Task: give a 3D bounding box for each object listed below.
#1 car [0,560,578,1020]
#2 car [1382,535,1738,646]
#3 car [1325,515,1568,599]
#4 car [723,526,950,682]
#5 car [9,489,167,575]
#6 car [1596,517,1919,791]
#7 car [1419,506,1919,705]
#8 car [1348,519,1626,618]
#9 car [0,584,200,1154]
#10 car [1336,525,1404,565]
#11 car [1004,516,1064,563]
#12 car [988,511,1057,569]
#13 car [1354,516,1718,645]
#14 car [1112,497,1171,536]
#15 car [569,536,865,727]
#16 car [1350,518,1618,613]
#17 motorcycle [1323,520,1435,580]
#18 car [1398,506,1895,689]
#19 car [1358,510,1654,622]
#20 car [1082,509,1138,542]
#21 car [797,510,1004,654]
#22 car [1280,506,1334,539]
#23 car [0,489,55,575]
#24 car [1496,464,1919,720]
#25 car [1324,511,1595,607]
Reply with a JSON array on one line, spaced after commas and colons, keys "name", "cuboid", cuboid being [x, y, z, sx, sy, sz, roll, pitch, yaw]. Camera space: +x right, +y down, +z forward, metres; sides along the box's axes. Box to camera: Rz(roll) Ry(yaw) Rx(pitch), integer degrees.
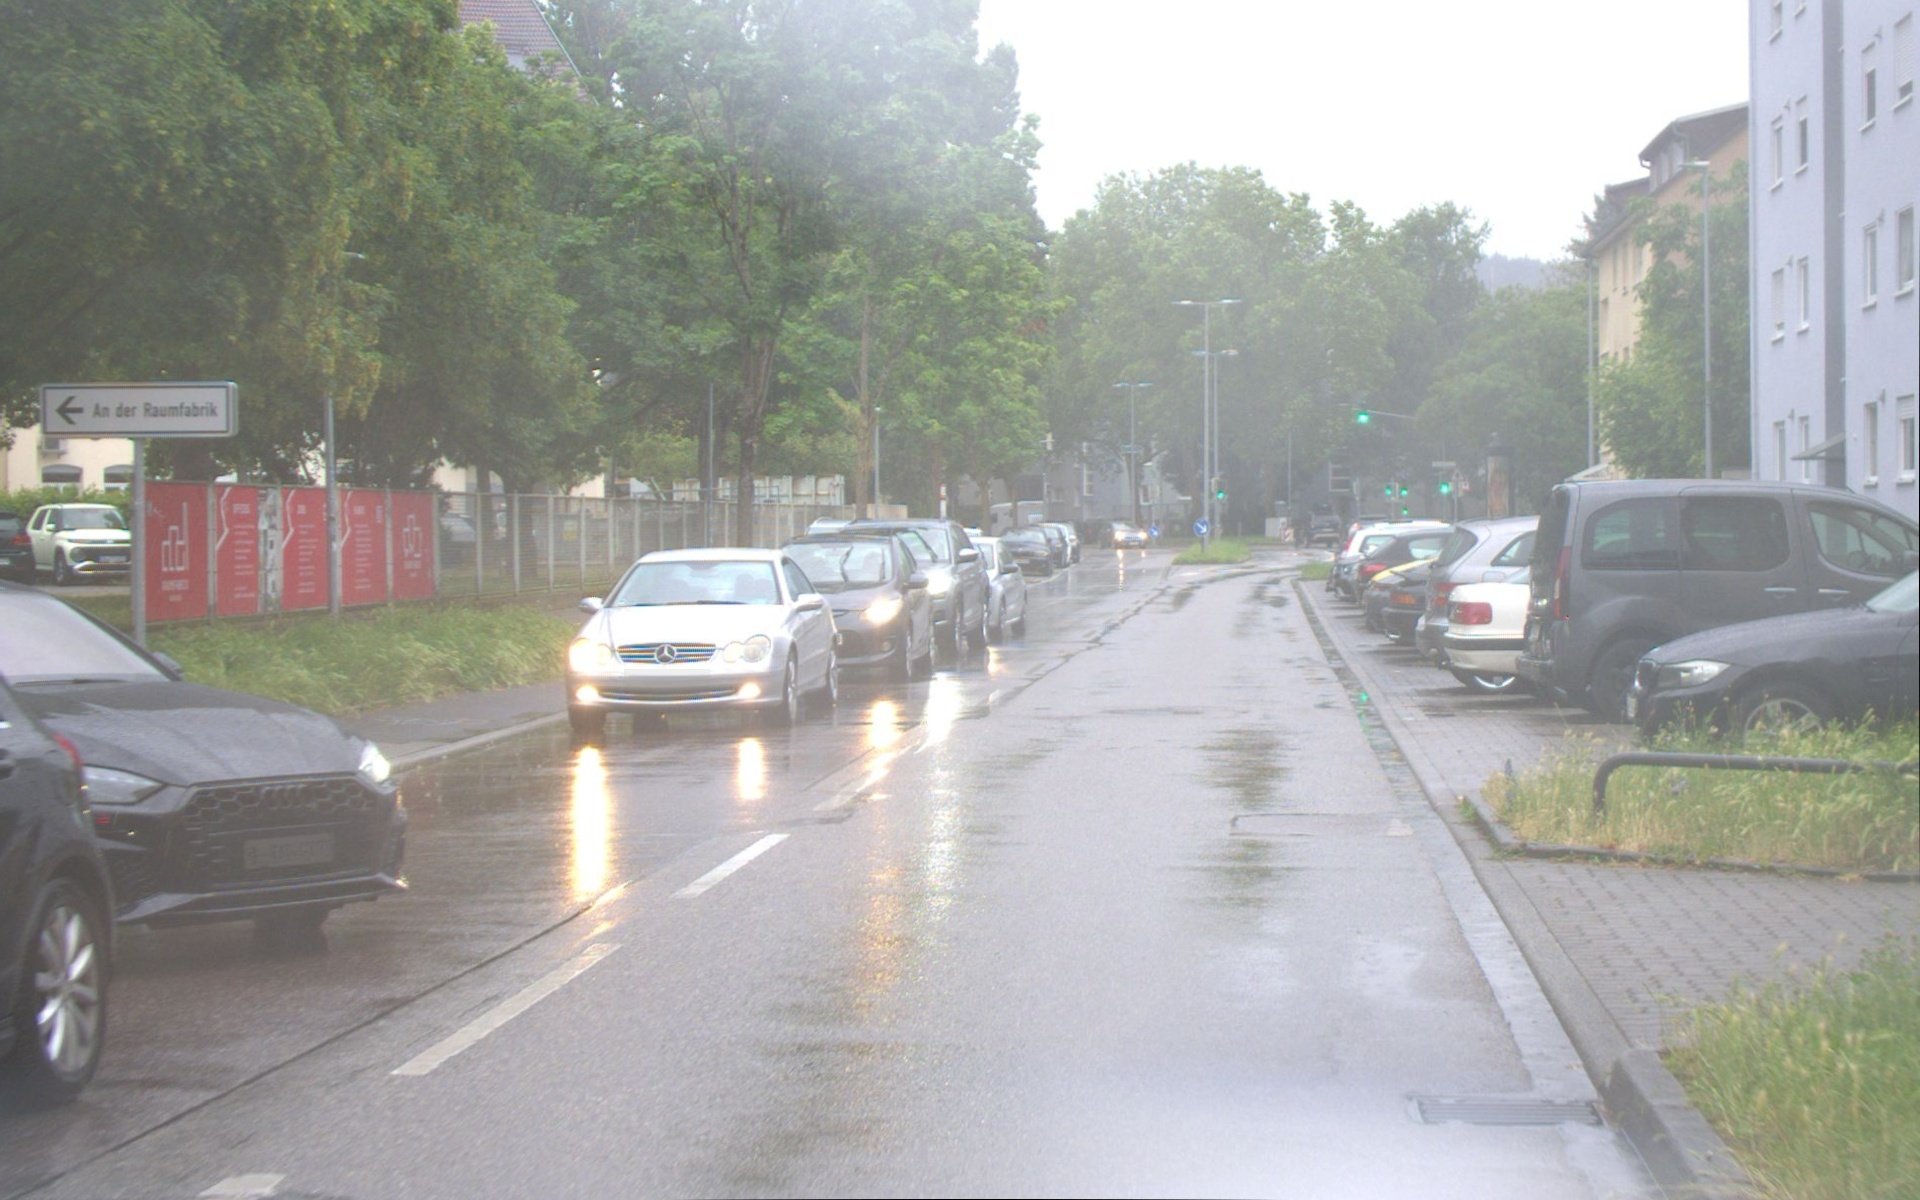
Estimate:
[{"name": "car", "cuboid": [-4.020, 0.592, 13.480, 4.923, 1.449, 2.082, 0, 2, 37]}, {"name": "car", "cuboid": [6.689, -0.119, 38.699, 3.855, 1.203, 1.955, 0, 1, 7]}, {"name": "car", "cuboid": [8.841, -0.797, 62.338, 4.271, 1.449, 1.983, 1, 2, 11]}, {"name": "car", "cuboid": [-1.193, -0.005, 35.044, 1.779, 1.415, 4.265, -1, 2, 5]}, {"name": "car", "cuboid": [-16.564, -1.262, 65.192, 1.845, 1.567, 4.000, 0, 0, -30]}, {"name": "car", "cuboid": [5.988, 0.257, 19.417, 4.534, 1.465, 1.983, -1, 1, 5]}, {"name": "car", "cuboid": [5.978, 0.027, 28.451, 4.190, 1.563, 1.889, 0, 1, 3]}, {"name": "car", "cuboid": [7.879, -0.485, 51.680, 3.987, 1.437, 1.781, 0, 1, 5]}, {"name": "car", "cuboid": [-3.298, 0.714, 7.781, 1.727, 1.356, 4.337, -1, 2, 7]}, {"name": "car", "cuboid": [15.968, -2.167, 134.198, 1.849, 1.519, 4.001, -1, 1, -5]}, {"name": "car", "cuboid": [2.462, -2.020, 114.123, 1.929, 1.479, 4.000, -1, 1, 2]}, {"name": "car", "cuboid": [1.782, -1.761, 99.323, 1.775, 1.524, 4.001, 0, 3, -2]}, {"name": "car", "cuboid": [6.849, -0.247, 41.233, 4.144, 1.481, 2.012, 0, 1, 5]}, {"name": "car", "cuboid": [9.562, -4.402, 180.955, 1.993, 2.006, 4.001, -1, 2, -14]}, {"name": "car", "cuboid": [-1.870, 0.189, 27.892, 1.775, 1.398, 4.830, 0, 1, 3]}, {"name": "car", "cuboid": [8.223, -0.554, 54.264, 4.098, 1.453, 2.000, 0, 2, 7]}, {"name": "motorcycle", "cuboid": [9.339, -1.125, 76.689, 2.398, 1.319, 0.919, 0, 1, 1]}, {"name": "car", "cuboid": [6.124, -0.043, 31.060, 4.182, 1.566, 1.890, 0, 1, 4]}, {"name": "car", "cuboid": [7.748, -0.496, 49.070, 3.987, 1.546, 1.853, 0, 1, 4]}, {"name": "car", "cuboid": [7.658, -3.804, 175.725, 1.740, 1.683, 4.001, 0, 1, -15]}, {"name": "car", "cuboid": [-0.658, -0.258, 41.863, 1.914, 1.634, 4.821, 0, 1, 6]}, {"name": "car", "cuboid": [16.097, -3.591, 159.584, 1.849, 1.519, 4.001, -1, 1, -4]}, {"name": "car", "cuboid": [-18.493, -1.233, 63.958, 1.994, 1.552, 4.000, -1, 1, -34]}, {"name": "car", "cuboid": [6.291, -0.088, 25.857, 4.232, 1.799, 1.945, -1, 1, 2]}, {"name": "car", "cuboid": [8.294, -0.692, 57.406, 4.342, 1.546, 2.040, 0, 1, 5]}]
